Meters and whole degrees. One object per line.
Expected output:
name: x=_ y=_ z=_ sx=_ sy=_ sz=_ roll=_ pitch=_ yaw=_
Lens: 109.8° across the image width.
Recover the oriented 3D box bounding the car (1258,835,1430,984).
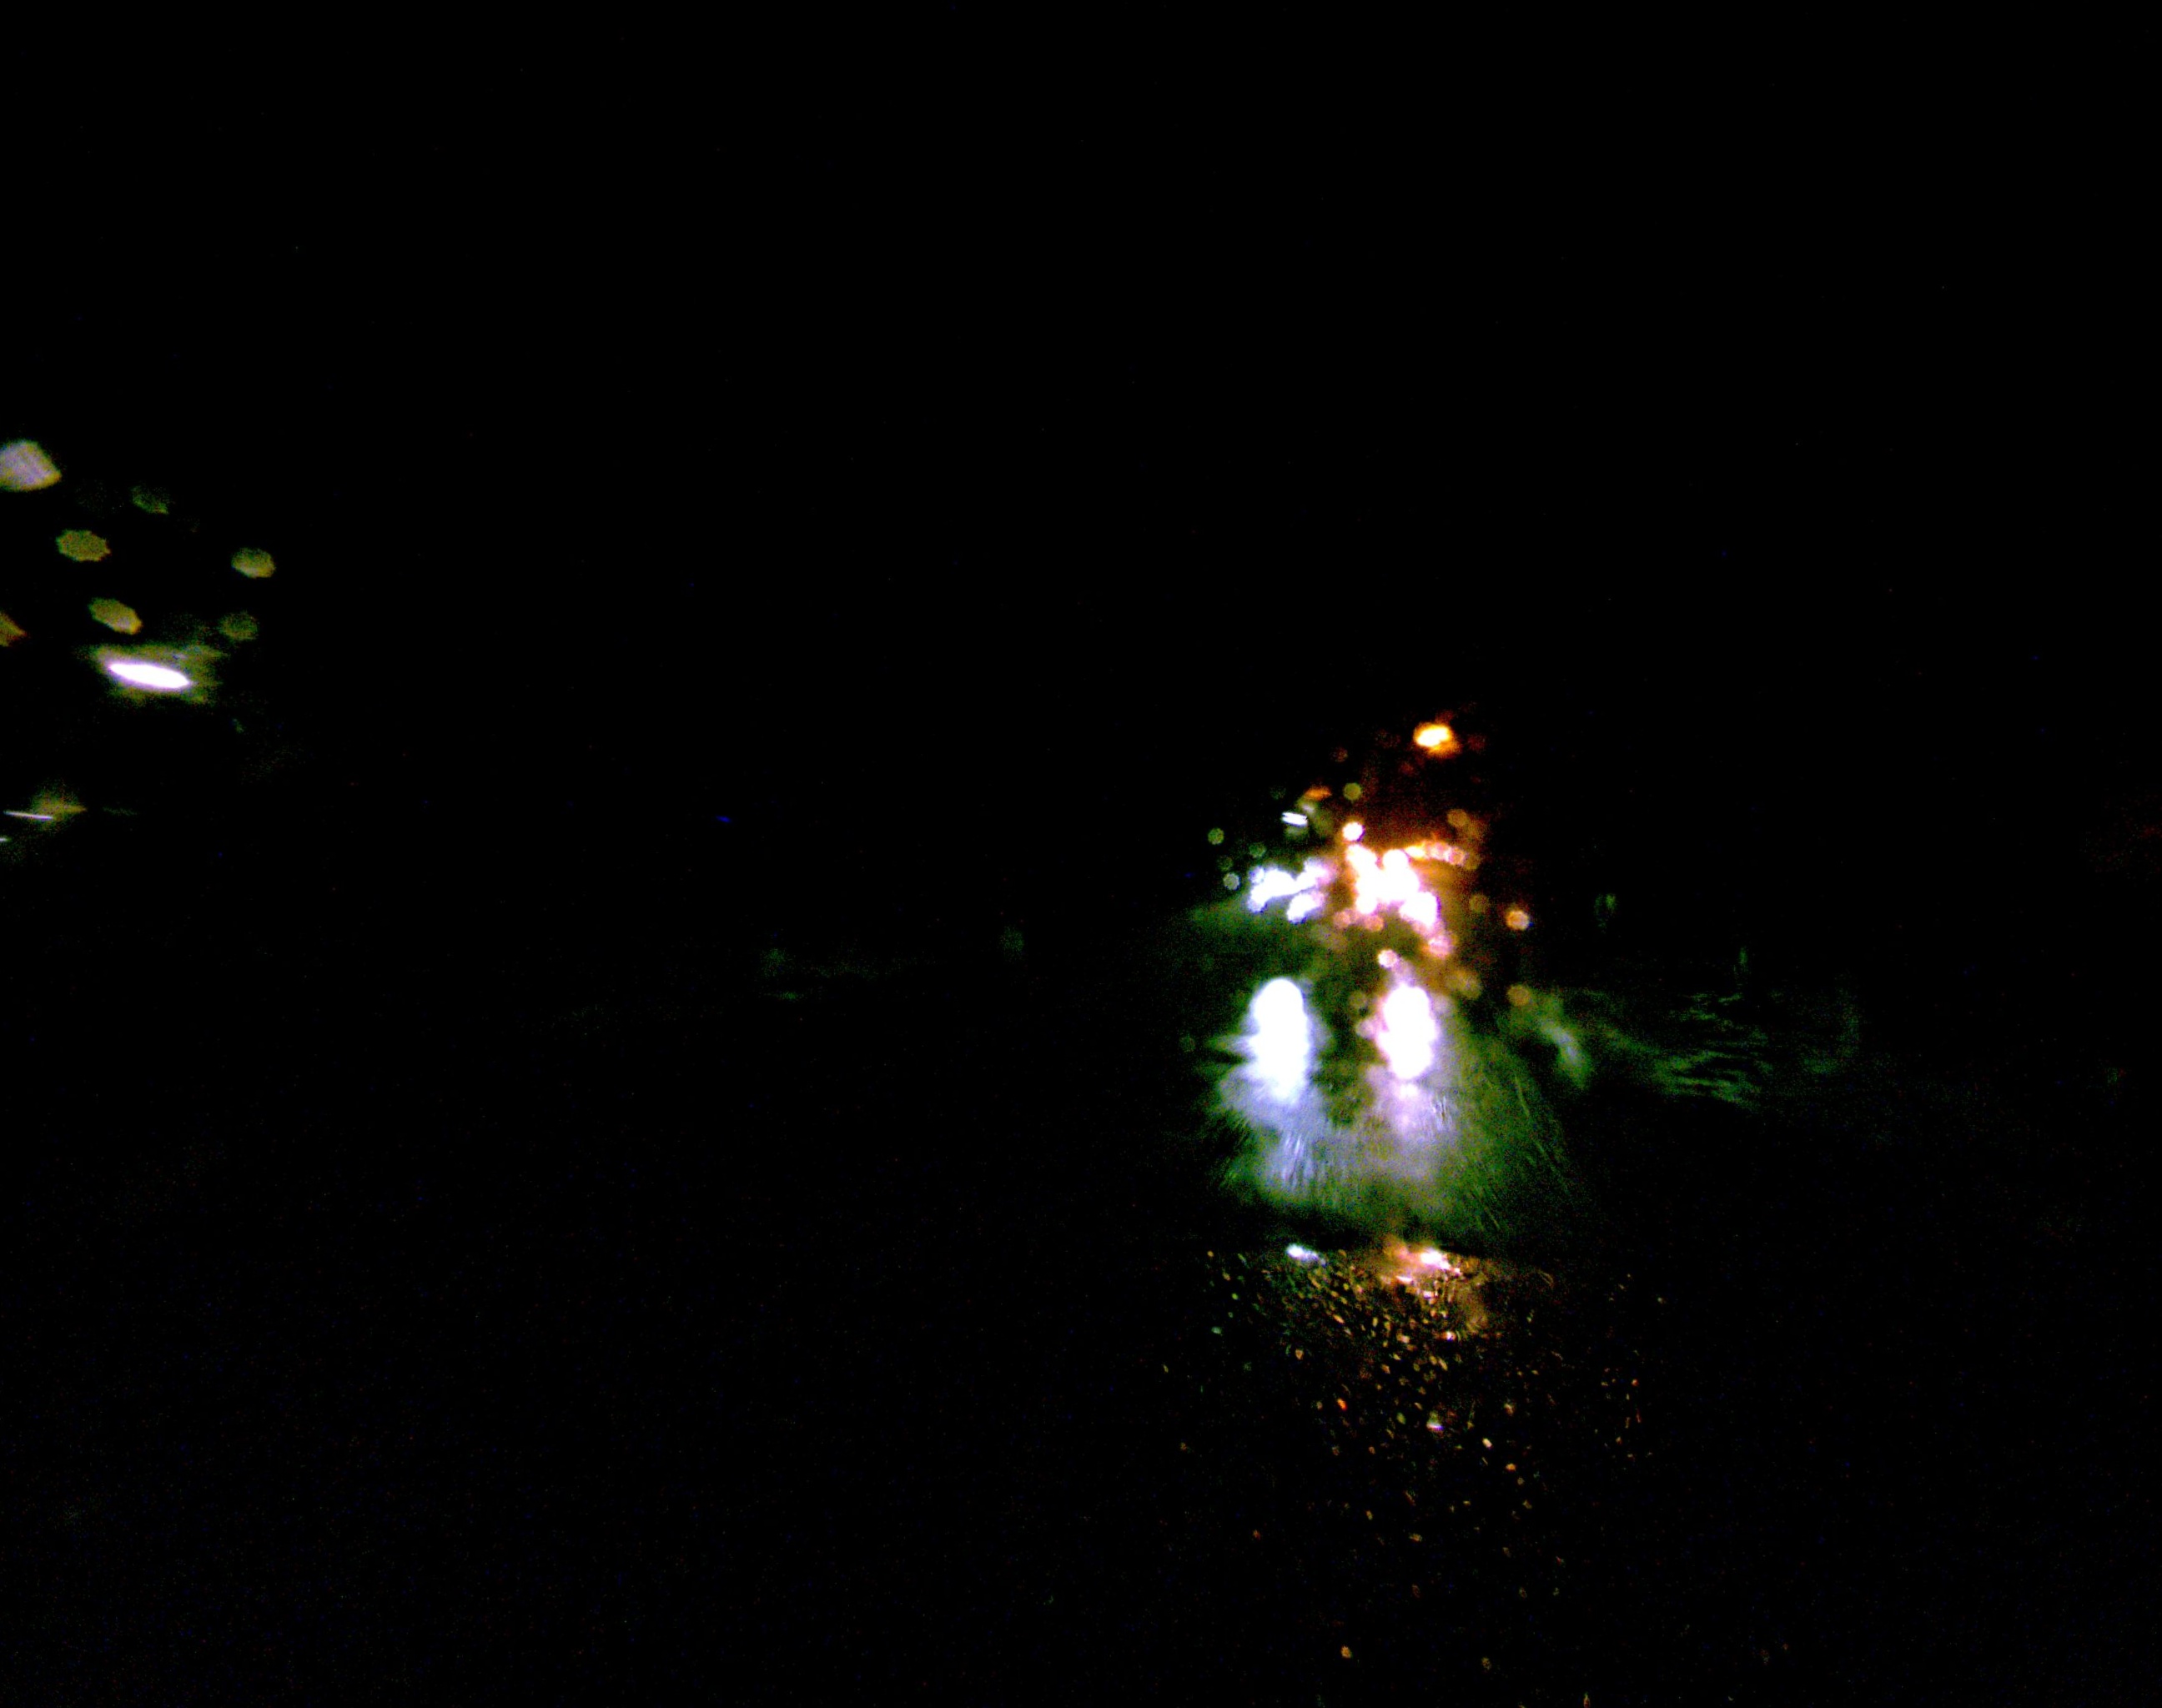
car: x=4.033 y=0.638 z=11.120 sx=1.890 sy=1.678 sz=4.346 roll=-3 pitch=1 yaw=25

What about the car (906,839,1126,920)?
car: x=-1.451 y=0.474 z=16.740 sx=4.470 sy=1.577 sz=1.943 roll=1 pitch=1 yaw=26
